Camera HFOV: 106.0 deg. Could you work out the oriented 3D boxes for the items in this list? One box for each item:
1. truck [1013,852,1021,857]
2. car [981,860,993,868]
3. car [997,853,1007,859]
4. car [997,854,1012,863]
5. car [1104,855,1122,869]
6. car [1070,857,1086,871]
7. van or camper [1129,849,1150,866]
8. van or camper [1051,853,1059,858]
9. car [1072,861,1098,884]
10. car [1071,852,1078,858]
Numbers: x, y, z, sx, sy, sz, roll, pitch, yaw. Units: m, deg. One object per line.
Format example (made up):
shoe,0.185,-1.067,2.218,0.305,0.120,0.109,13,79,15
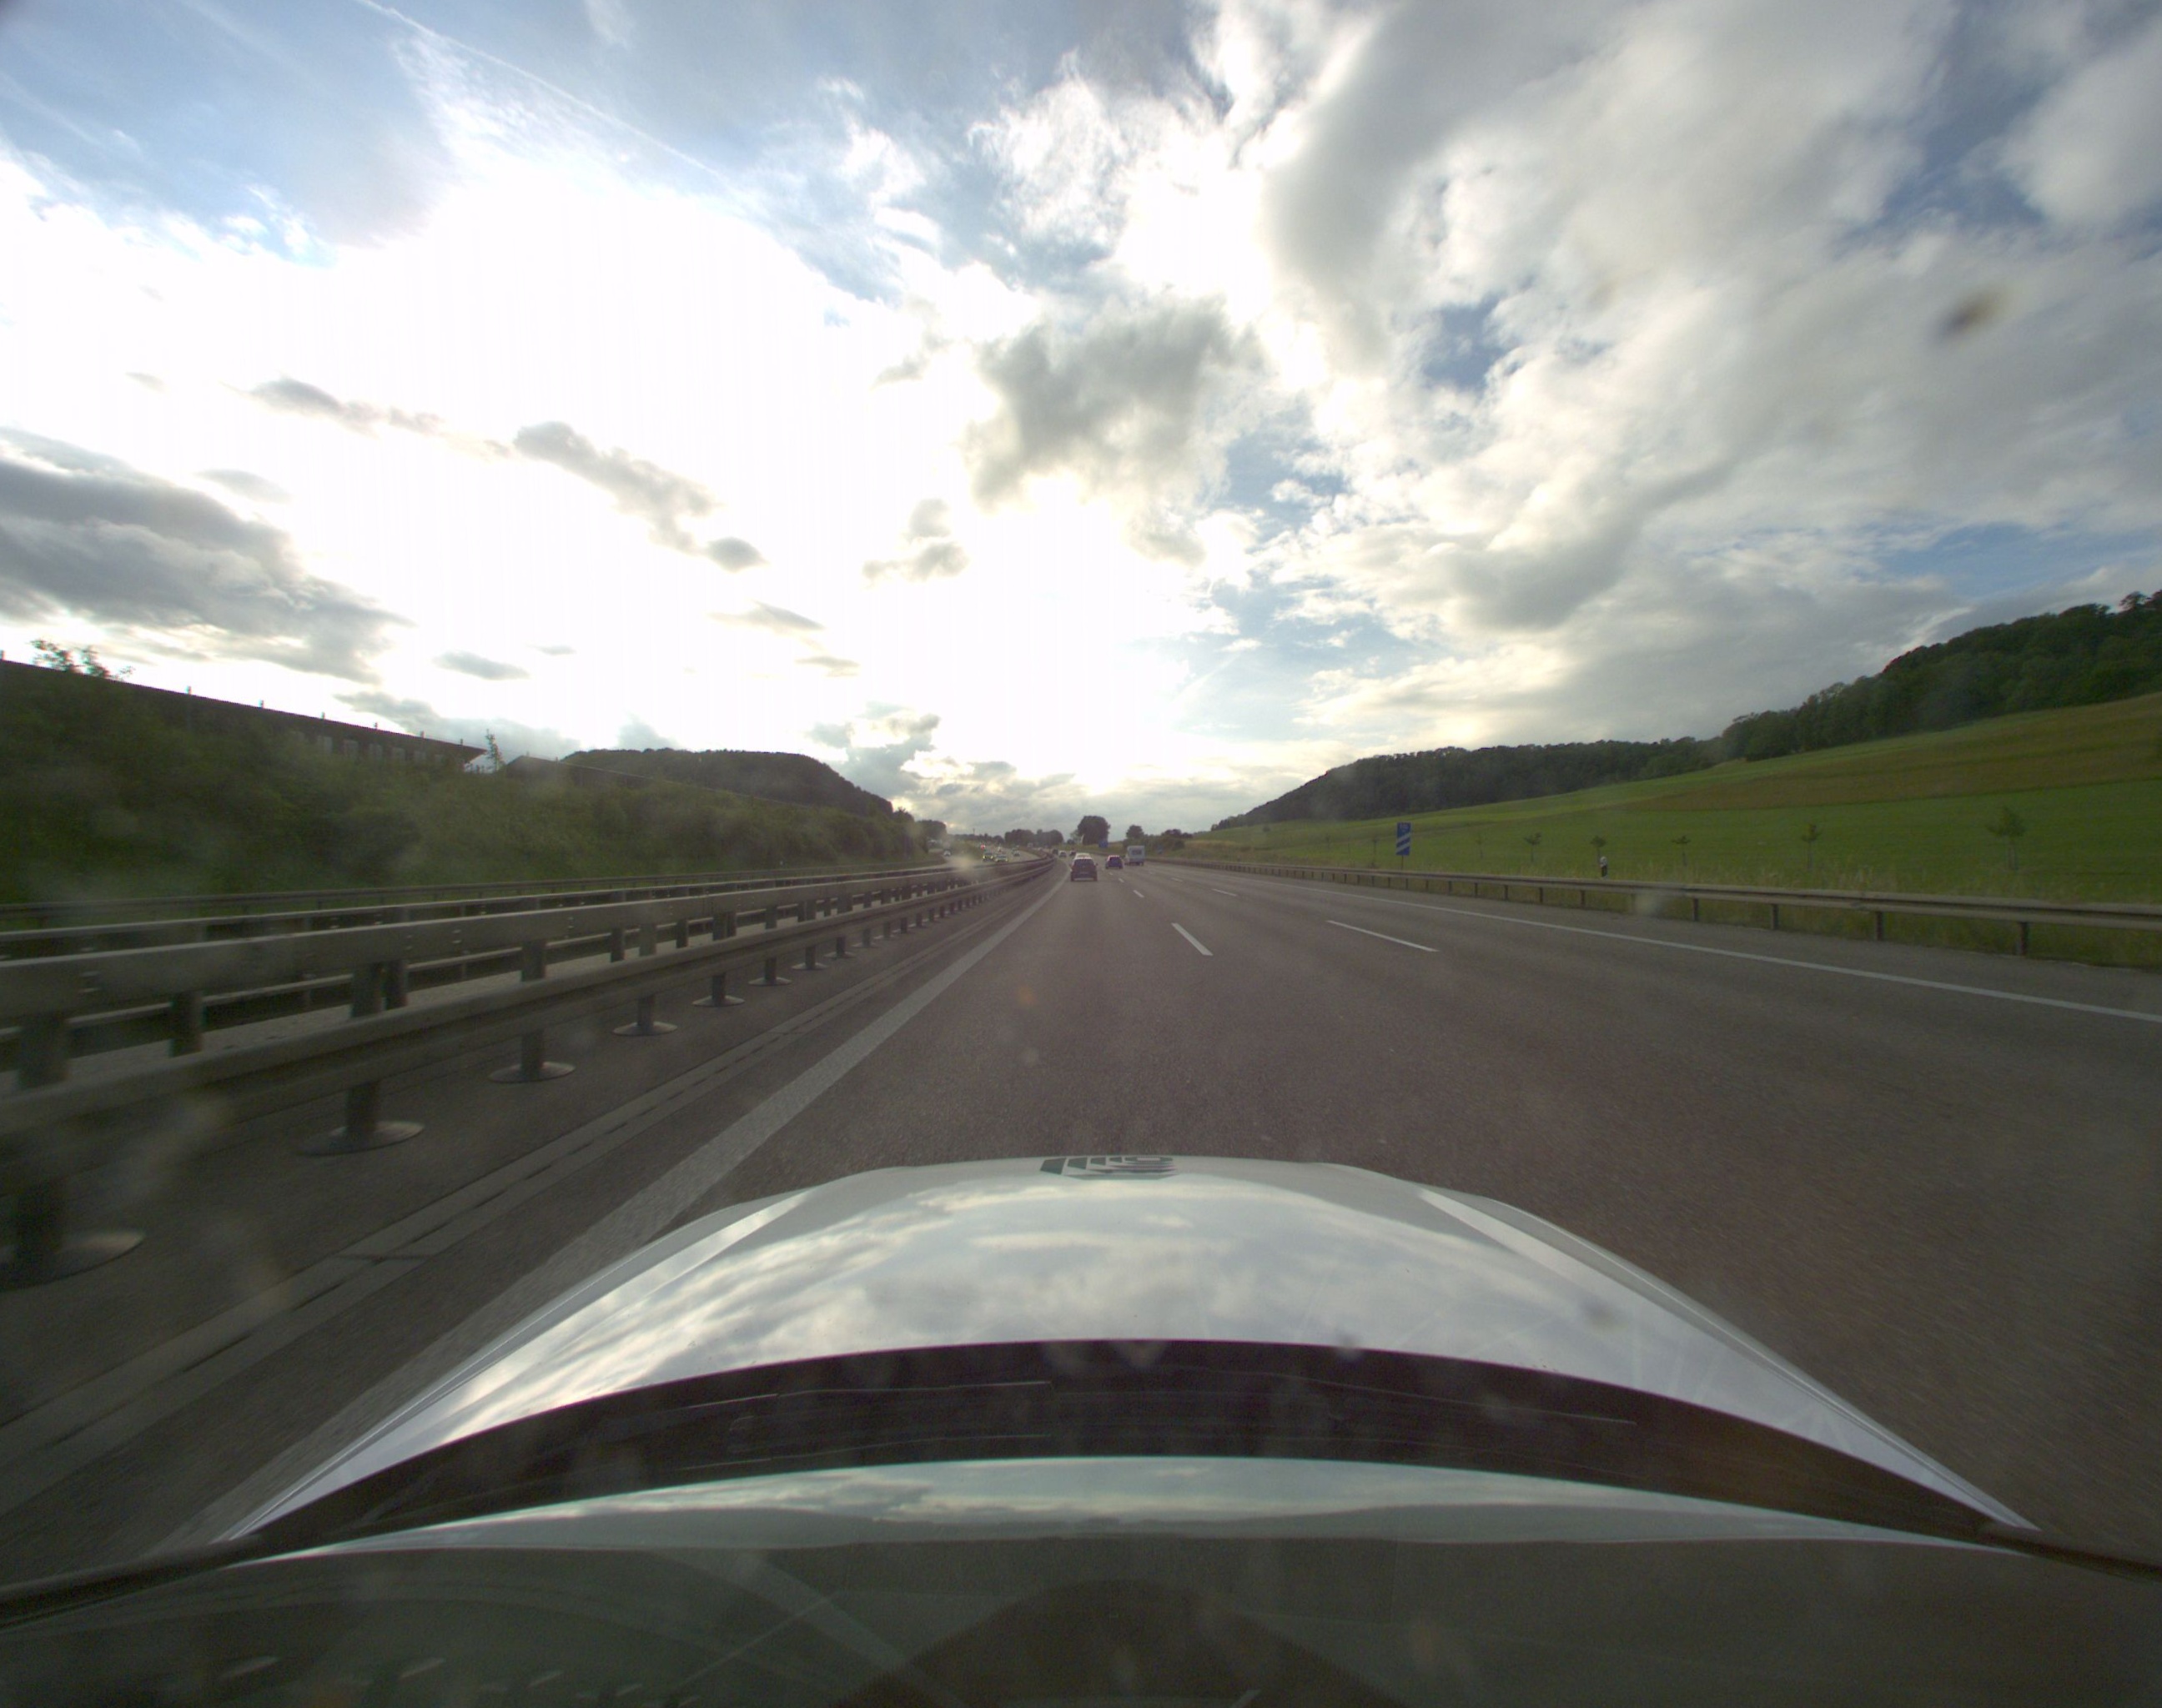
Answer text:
truck,-17.905,0.054,226.614,1.992,1.222,3.990,-2,0,-7
car,-17.562,1.852,151.542,1.770,1.596,3.999,-1,0,-1
car,-18.213,0.443,188.852,1.988,1.353,4.352,-2,0,-2
car,-11.754,0.668,125.276,1.989,1.430,4.583,0,0,-2
car,3.489,0.848,89.093,1.762,1.433,3.998,2,-1,-1
car,-0.331,0.966,79.607,1.560,1.380,3.998,-1,0,-1
van or camper,7.785,0.436,108.283,2.538,2.239,5.332,-1,0,2
van or camper,-7.842,0.468,248.911,1.958,1.433,4.004,0,0,3
car,0.228,1.117,51.319,1.533,1.348,3.676,-1,0,0
car,-1.785,0.246,223.581,1.950,1.574,4.001,-1,0,1
